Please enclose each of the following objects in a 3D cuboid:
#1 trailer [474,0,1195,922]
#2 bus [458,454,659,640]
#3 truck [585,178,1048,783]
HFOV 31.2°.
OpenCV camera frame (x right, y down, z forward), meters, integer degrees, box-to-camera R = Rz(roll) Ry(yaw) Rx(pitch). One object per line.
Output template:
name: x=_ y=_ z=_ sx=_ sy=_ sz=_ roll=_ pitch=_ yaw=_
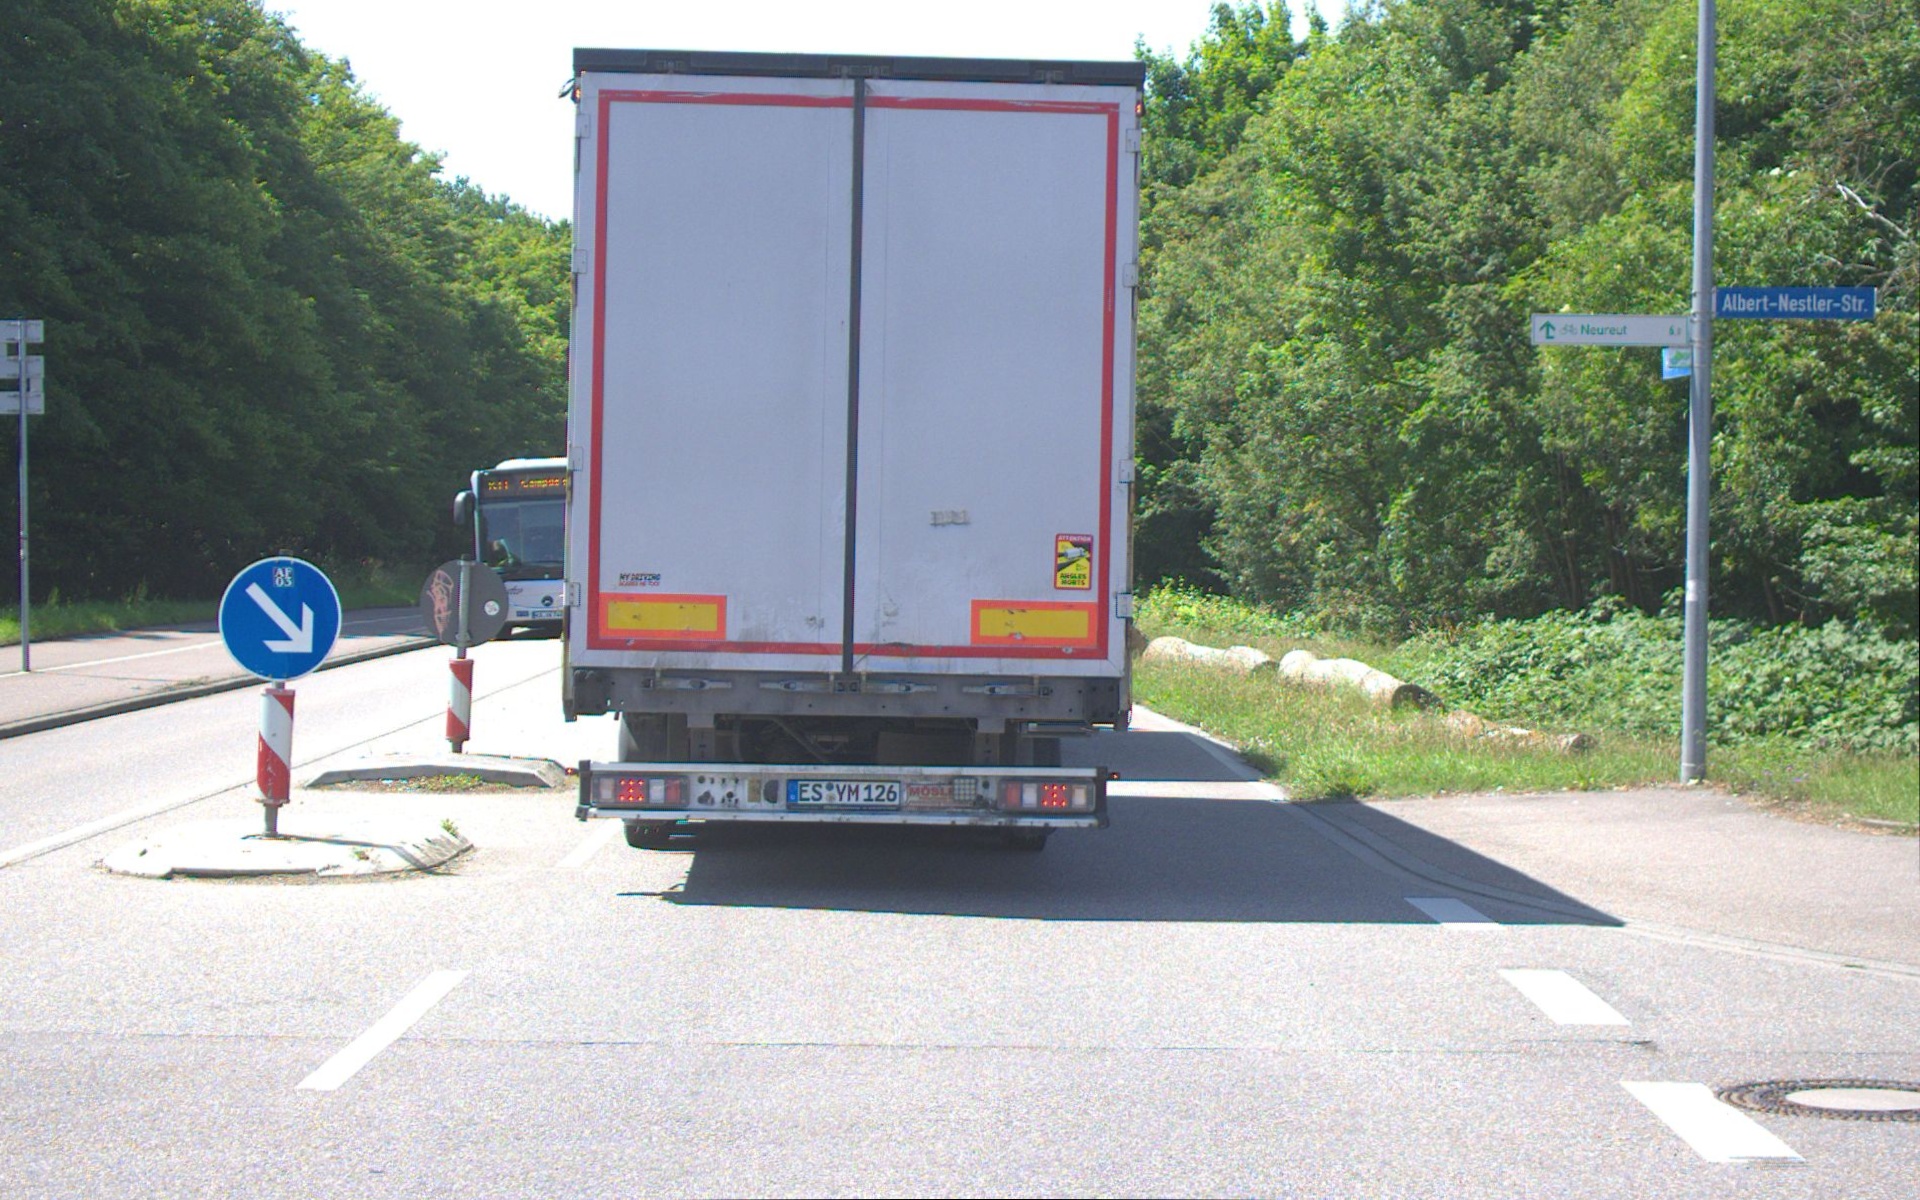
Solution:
trailer: x=-0.804 y=-0.721 z=19.891 sx=3.077 sy=4.056 sz=9.810 roll=1 pitch=1 yaw=-3
bus: x=-7.257 y=-0.980 z=63.638 sx=2.749 sy=3.035 sz=11.940 roll=-2 pitch=1 yaw=-2
truck: x=-1.215 y=-0.874 z=27.392 sx=3.077 sy=4.056 sz=7.960 roll=1 pitch=1 yaw=-3
